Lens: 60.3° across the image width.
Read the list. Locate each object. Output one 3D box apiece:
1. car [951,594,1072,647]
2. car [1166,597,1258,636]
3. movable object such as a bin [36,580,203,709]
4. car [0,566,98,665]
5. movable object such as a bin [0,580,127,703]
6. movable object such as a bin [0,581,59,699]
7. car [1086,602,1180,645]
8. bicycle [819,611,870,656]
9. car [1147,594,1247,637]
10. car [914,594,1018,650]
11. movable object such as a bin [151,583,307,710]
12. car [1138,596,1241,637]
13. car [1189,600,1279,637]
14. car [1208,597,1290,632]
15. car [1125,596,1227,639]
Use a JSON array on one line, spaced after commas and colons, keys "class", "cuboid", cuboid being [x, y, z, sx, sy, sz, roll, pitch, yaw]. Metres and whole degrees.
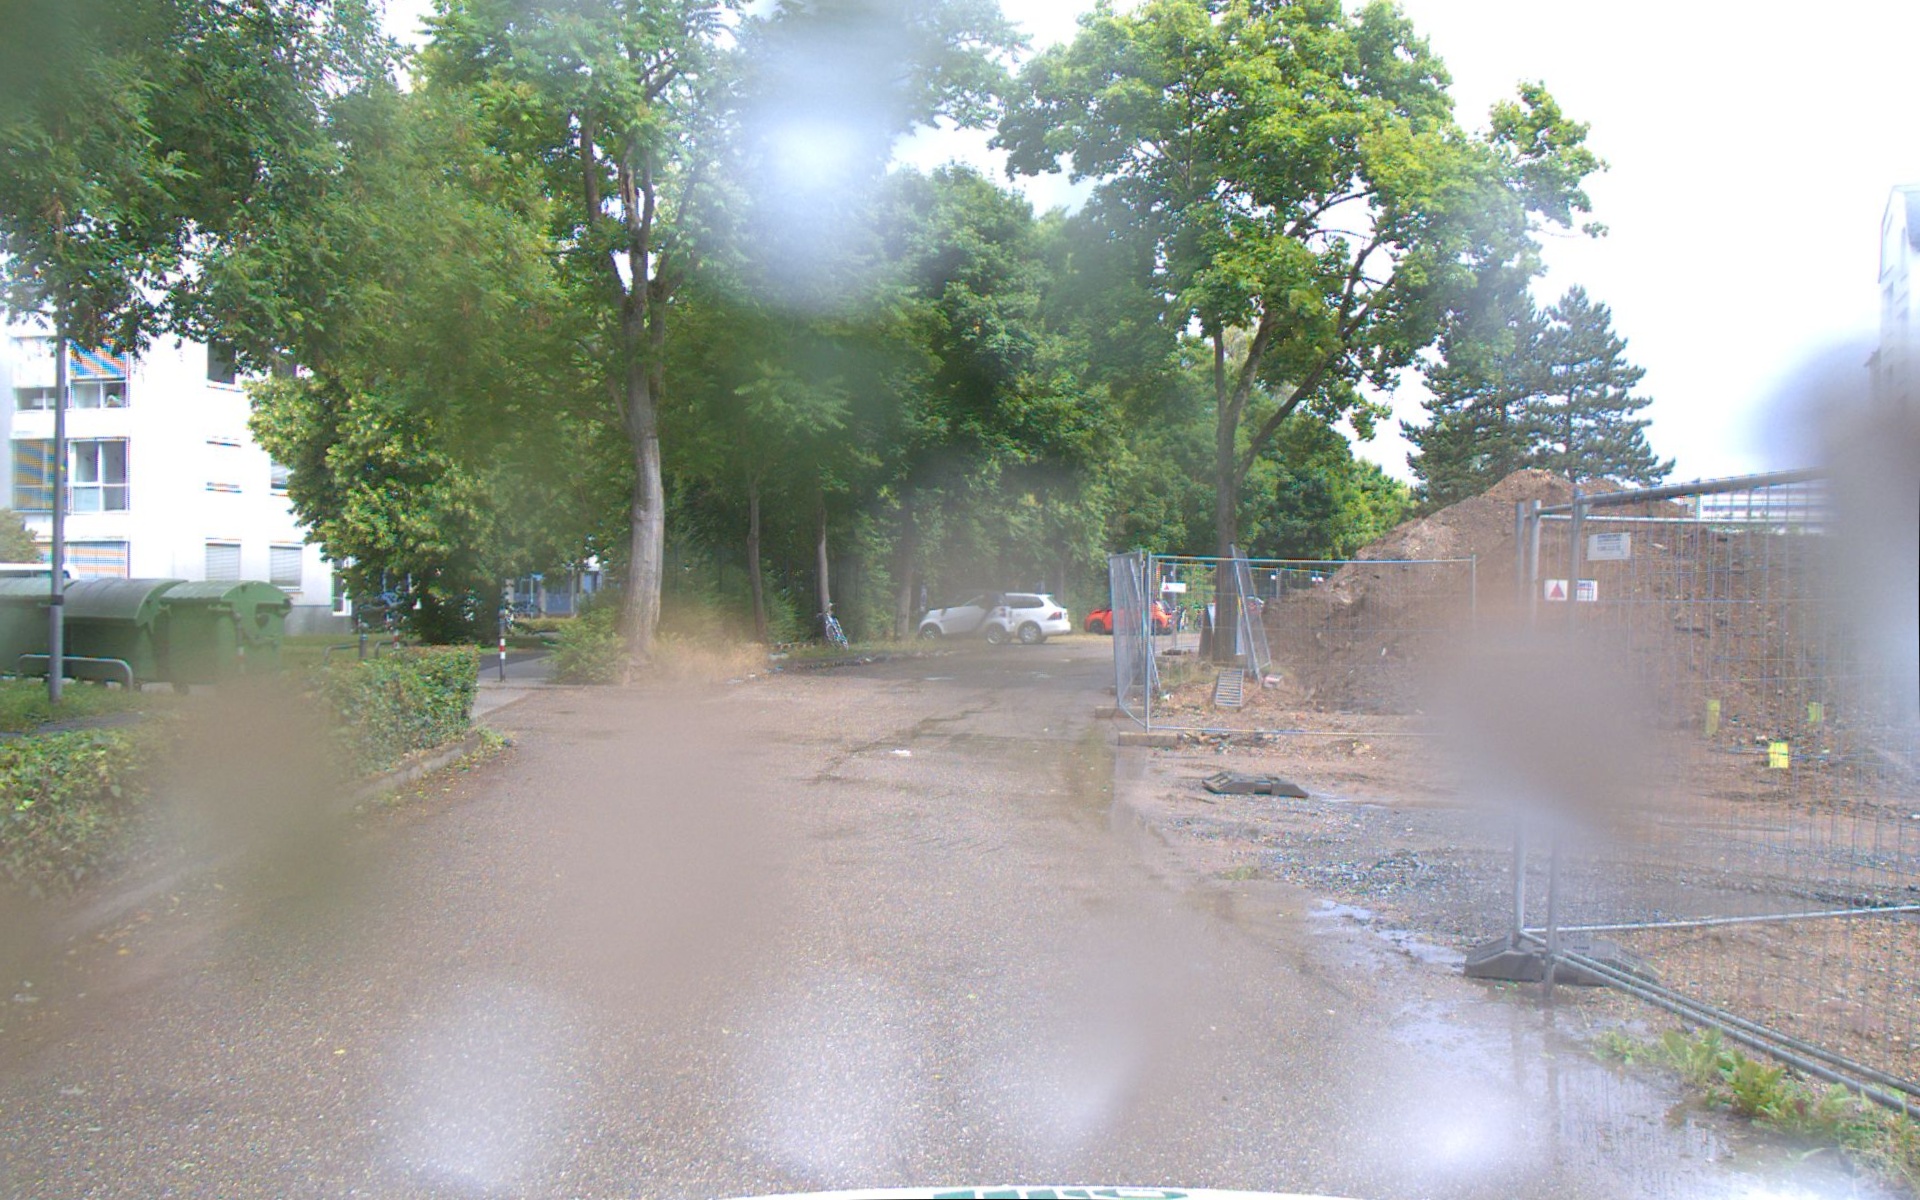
[{"class": "car", "cuboid": [1.528, 0.590, 48.548, 3.358, 1.494, 1.742, 0, 1, 9]}, {"class": "car", "cuboid": [11.280, 0.720, 73.898, 3.859, 1.543, 1.807, 2, 1, 15]}, {"class": "movable object such as a bin", "cuboid": [-10.419, 0.535, 20.541, 1.368, 1.509, 1.169, 2, 0, 15]}, {"class": "car", "cuboid": [-20.086, 0.321, 33.051, 2.050, 1.959, 4.888, -1, -1, 23]}, {"class": "movable object such as a bin", "cuboid": [-11.681, 0.514, 21.181, 1.369, 1.509, 1.169, 1, 0, 17]}, {"class": "movable object such as a bin", "cuboid": [-12.978, 0.521, 21.849, 1.460, 1.509, 1.169, 0, 1, 16]}, {"class": "car", "cuboid": [6.571, 0.879, 62.871, 3.218, 1.449, 1.591, 2, 1, 24]}, {"class": "bicycle", "cuboid": [-2.413, 0.692, 34.765, 0.466, 0.875, 1.456, 2, 1, 21]}, {"class": "car", "cuboid": [10.291, 0.659, 71.751, 4.021, 1.679, 1.848, 2, 1, 16]}, {"class": "car", "cuboid": [0.182, 0.609, 46.482, 2.695, 1.510, 1.594, 0, 1, 9]}, {"class": "movable object such as a bin", "cuboid": [-8.939, 0.557, 20.250, 1.453, 1.499, 1.102, 0, -1, 31]}, {"class": "car", "cuboid": [9.575, 0.652, 68.982, 3.905, 1.522, 1.994, 2, 1, 21]}, {"class": "car", "cuboid": [12.811, 0.843, 77.320, 3.904, 1.587, 1.765, 2, 1, 18]}, {"class": "car", "cuboid": [14.401, 0.706, 82.309, 3.776, 1.600, 1.959, 2, 1, 17]}, {"class": "car", "cuboid": [8.738, 0.695, 67.001, 3.716, 1.555, 1.909, 2, 1, 22]}]
